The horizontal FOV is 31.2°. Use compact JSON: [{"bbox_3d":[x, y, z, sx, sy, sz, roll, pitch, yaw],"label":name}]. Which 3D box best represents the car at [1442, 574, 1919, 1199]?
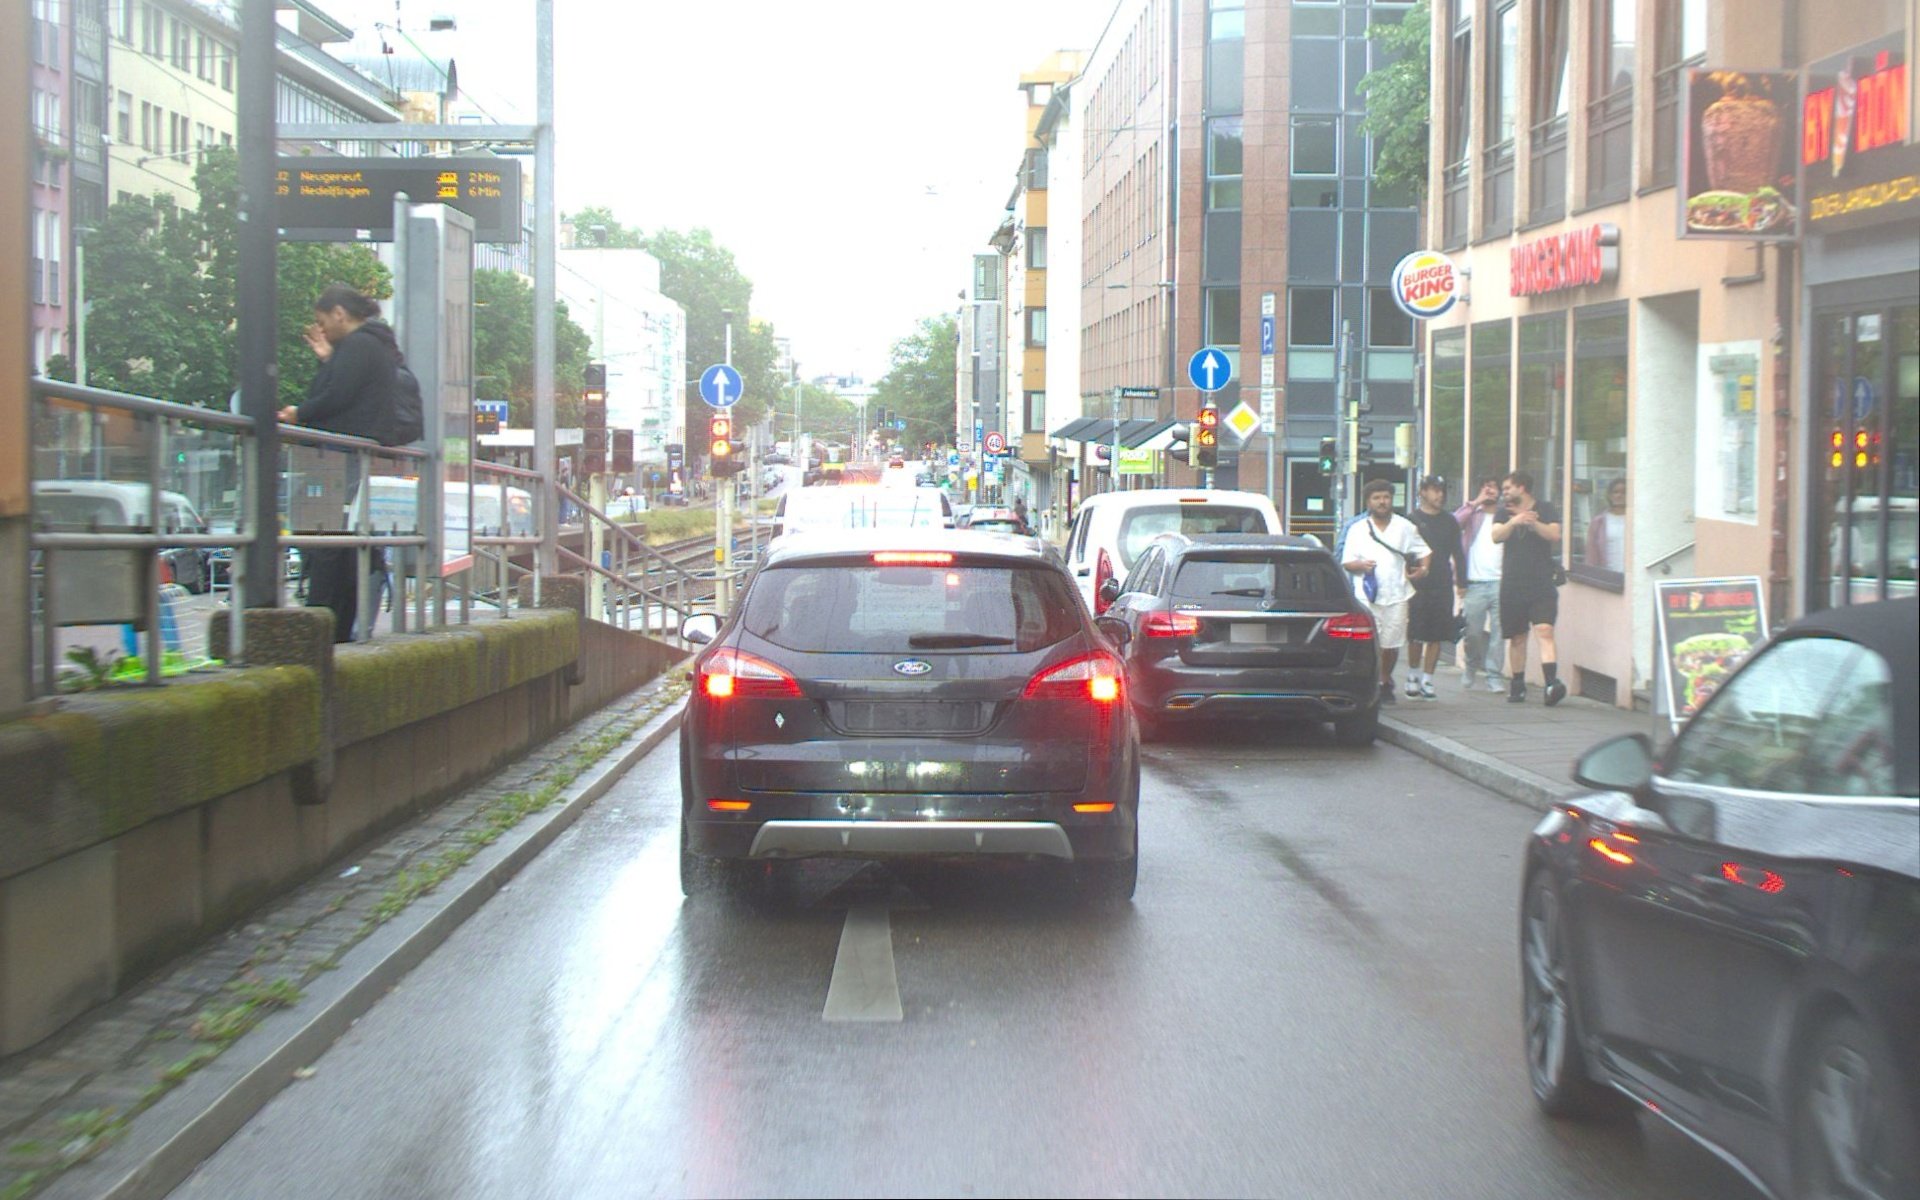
[{"bbox_3d":[2.354,0.695,7.481,1.906,1.457,4.246,0,1,-1],"label":"car"}]

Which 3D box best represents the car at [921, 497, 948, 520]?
[{"bbox_3d":[-1.861,-6.636,250.600,1.906,1.627,4.574,0,1,0],"label":"car"}]

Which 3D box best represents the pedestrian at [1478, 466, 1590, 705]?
[{"bbox_3d":[4.407,-0.114,26.425,0.756,1.813,0.588,0,1,1],"label":"pedestrian"}]

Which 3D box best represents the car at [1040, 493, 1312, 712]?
[{"bbox_3d":[1.838,-0.020,30.727,1.906,1.800,4.778,0,1,-3],"label":"car"}]

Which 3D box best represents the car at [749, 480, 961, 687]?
[{"bbox_3d":[-0.964,-0.189,33.235,1.906,1.858,4.574,0,1,0],"label":"car"}]

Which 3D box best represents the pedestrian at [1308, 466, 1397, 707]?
[{"bbox_3d":[3.193,-0.111,27.996,0.651,1.941,0.533,0,1,1],"label":"pedestrian"}]

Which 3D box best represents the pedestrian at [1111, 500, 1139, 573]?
[{"bbox_3d":[3.744,-1.449,78.143,0.601,1.653,0.625,0,1,-1],"label":"pedestrian"}]

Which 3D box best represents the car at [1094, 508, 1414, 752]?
[{"bbox_3d":[2.031,0.160,24.949,1.906,1.610,4.414,0,1,0],"label":"car"}]

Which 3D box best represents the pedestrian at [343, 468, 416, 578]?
[{"bbox_3d":[-10.787,-1.433,63.927,1.116,2.007,1.383,0,1,-1],"label":"pedestrian"}]

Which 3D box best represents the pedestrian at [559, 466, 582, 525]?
[{"bbox_3d":[-12.085,-3.242,106.744,0.655,1.795,0.850,0,1,-3],"label":"pedestrian"}]

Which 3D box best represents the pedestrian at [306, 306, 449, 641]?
[{"bbox_3d":[-2.760,-0.593,16.338,0.583,1.552,0.701,0,1,-3],"label":"pedestrian"}]

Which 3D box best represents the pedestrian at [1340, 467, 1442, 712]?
[{"bbox_3d":[3.292,-0.084,26.300,0.695,1.848,0.652,0,1,1],"label":"pedestrian"}]

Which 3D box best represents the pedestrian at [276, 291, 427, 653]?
[{"bbox_3d":[-2.758,-0.576,15.631,0.583,1.604,0.701,0,1,-3],"label":"pedestrian"}]

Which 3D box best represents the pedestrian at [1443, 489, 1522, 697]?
[{"bbox_3d":[4.317,-0.061,28.428,0.576,1.708,0.477,0,1,1],"label":"pedestrian"}]

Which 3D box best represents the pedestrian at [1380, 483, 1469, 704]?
[{"bbox_3d":[3.636,-0.056,26.951,0.610,1.708,0.581,0,1,1],"label":"pedestrian"}]

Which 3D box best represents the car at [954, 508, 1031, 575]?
[{"bbox_3d":[0.752,-1.355,79.579,1.698,1.474,3.867,-2,1,1],"label":"car"}]

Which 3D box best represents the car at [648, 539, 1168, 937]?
[{"bbox_3d":[-0.206,0.478,14.332,1.906,1.457,3.445,0,1,0],"label":"car"}]
